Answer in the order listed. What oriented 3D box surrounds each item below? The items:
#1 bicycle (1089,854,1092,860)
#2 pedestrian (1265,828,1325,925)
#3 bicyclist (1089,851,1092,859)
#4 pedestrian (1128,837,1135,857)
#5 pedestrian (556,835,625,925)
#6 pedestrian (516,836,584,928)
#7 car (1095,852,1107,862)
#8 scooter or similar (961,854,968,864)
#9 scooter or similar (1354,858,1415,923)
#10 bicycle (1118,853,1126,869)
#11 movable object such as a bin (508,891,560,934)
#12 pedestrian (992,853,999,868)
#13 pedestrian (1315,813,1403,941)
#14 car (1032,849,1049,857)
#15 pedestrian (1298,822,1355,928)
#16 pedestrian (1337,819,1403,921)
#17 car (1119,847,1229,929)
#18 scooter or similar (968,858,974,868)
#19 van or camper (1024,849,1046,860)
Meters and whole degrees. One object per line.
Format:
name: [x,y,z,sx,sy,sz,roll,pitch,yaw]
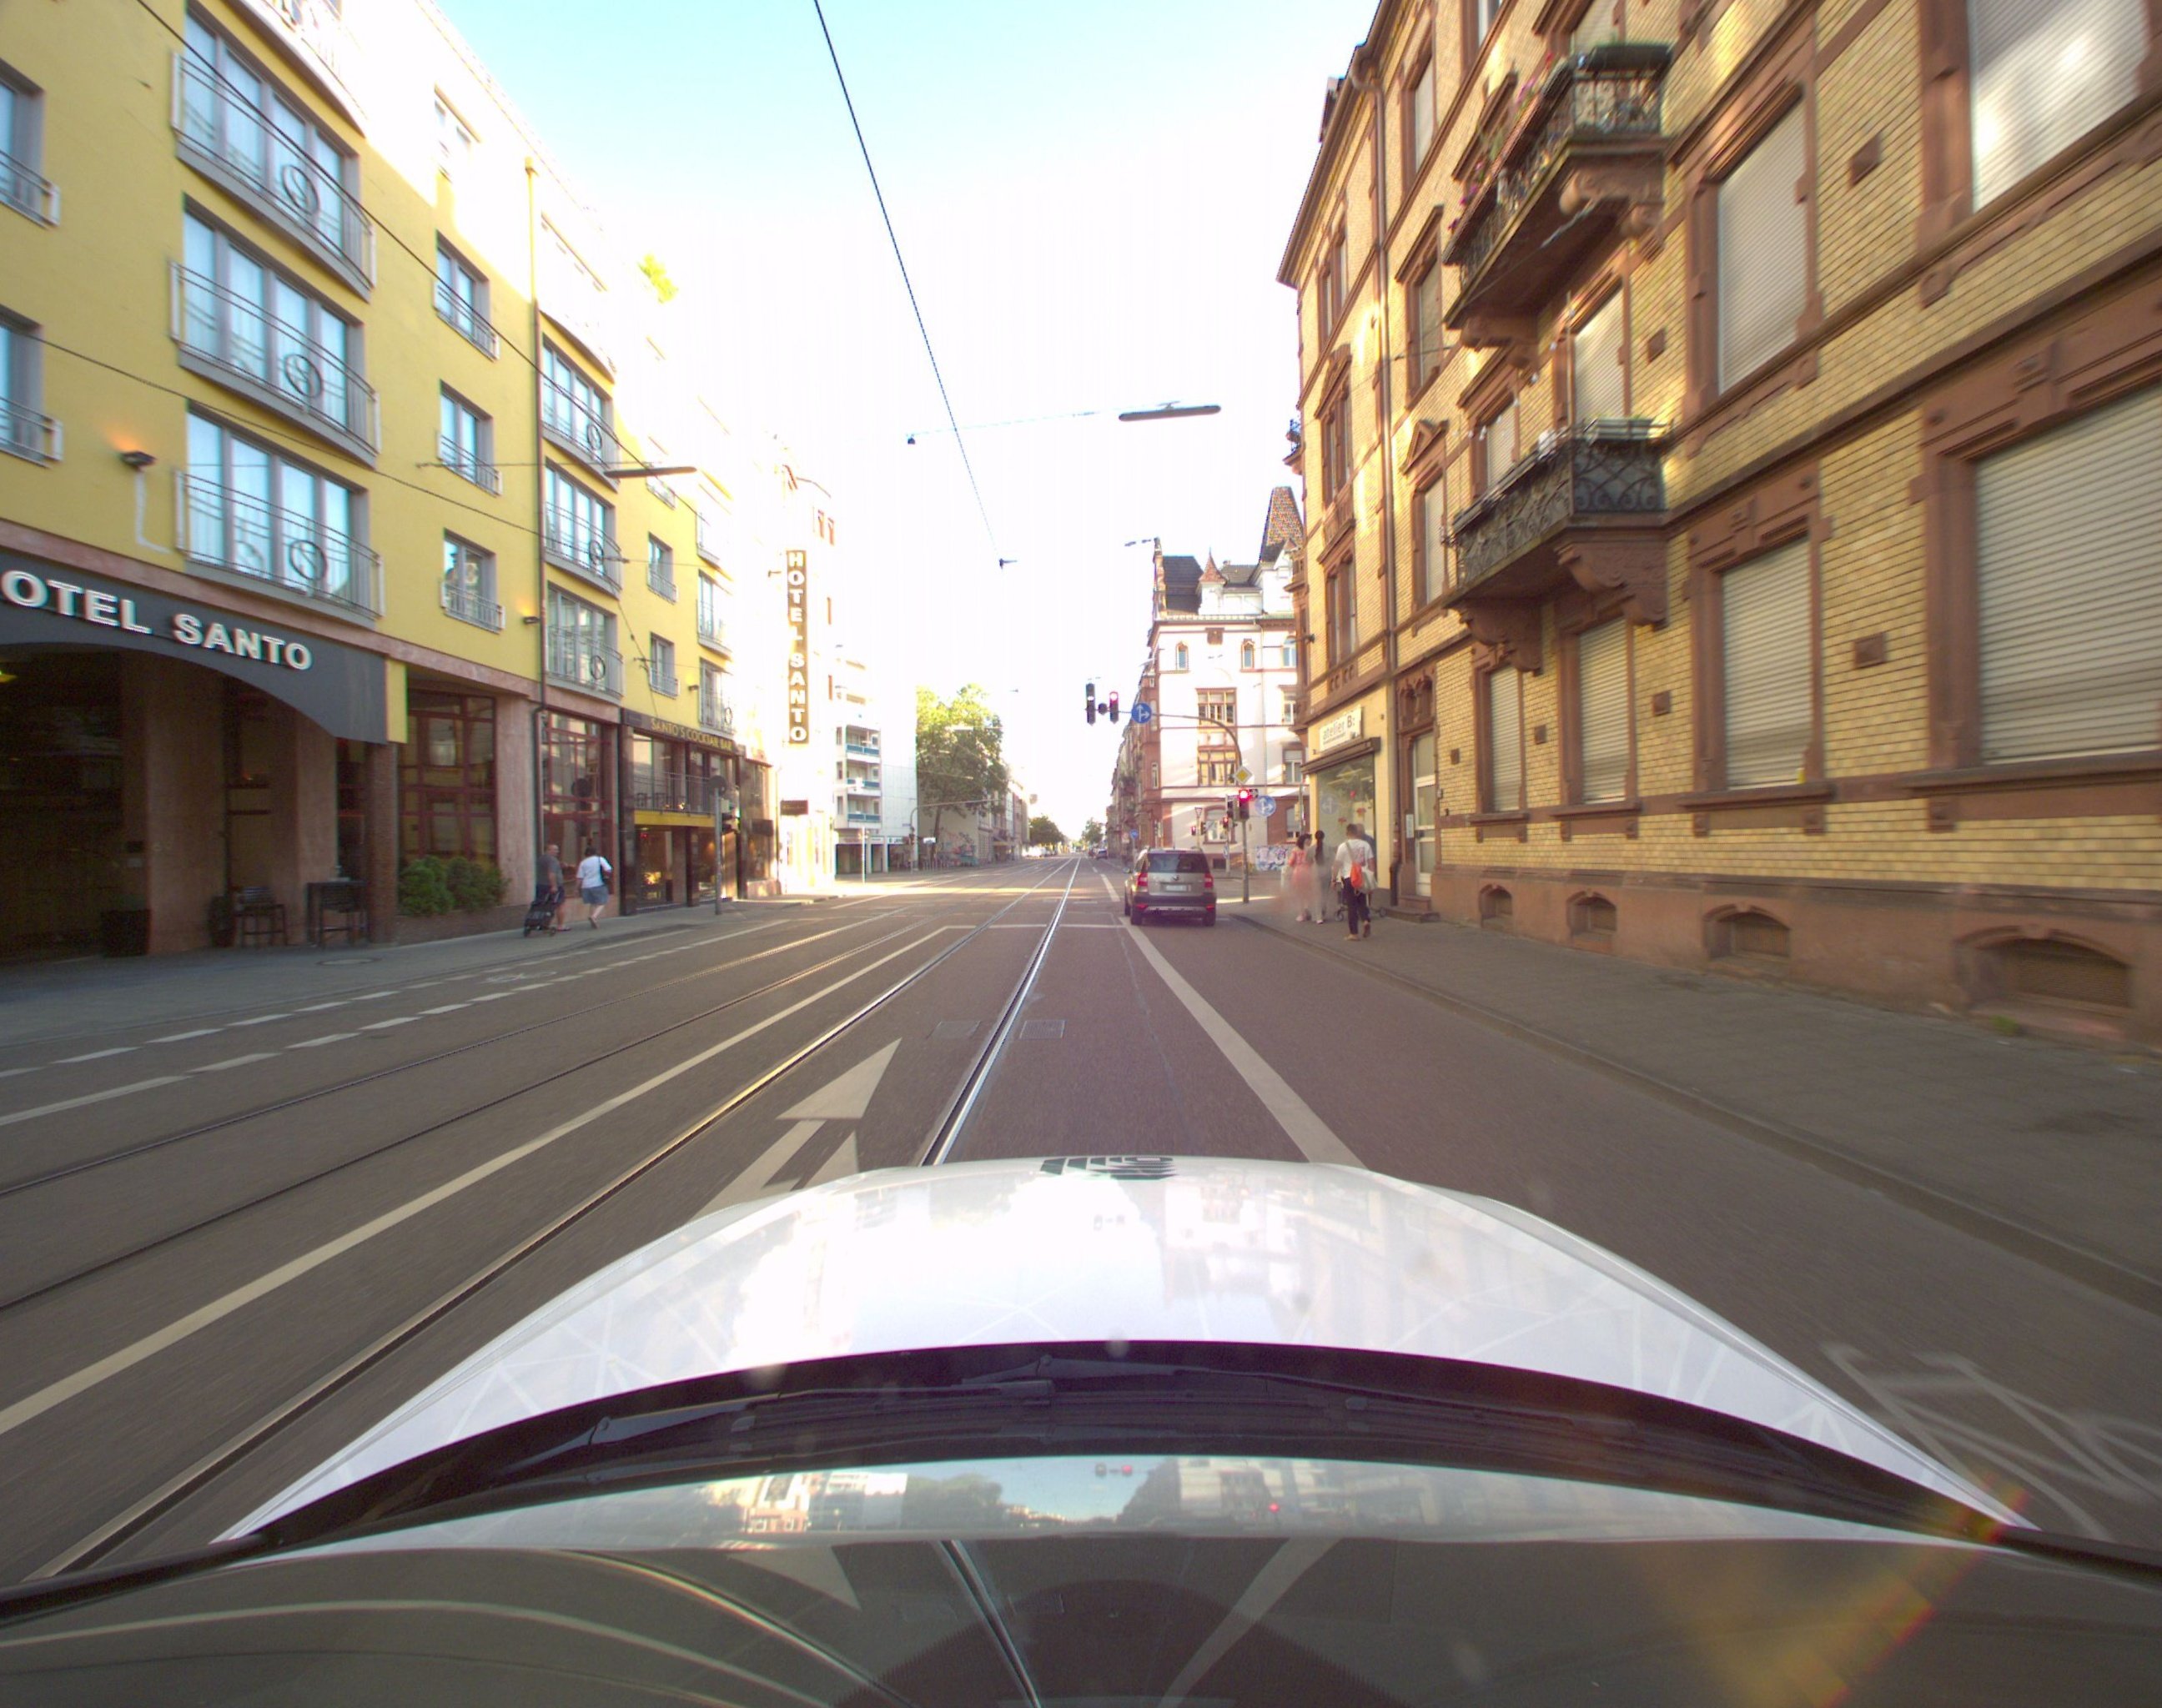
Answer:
bicycle: [1.873,0.589,157.974,0.573,1.030,1.895,-2,0,1]
pedestrian: [4.226,0.422,16.107,0.803,1.799,0.761,-6,1,-2]
bicyclist: [1.856,0.114,157.968,0.573,1.554,0.595,-2,0,1]
pedestrian: [4.369,-0.601,70.667,0.543,1.780,0.504,-2,0,1]
pedestrian: [-10.448,0.535,17.370,0.749,1.818,1.046,3,1,0]
pedestrian: [-10.694,0.549,16.414,0.795,1.771,0.749,3,1,0]
car: [3.395,0.454,138.864,1.943,1.684,4.001,-2,0,1]
scooter or similar: [-12.888,0.552,90.057,0.515,1.045,1.477,-2,0,-2]
scooter or similar: [5.455,0.644,14.653,0.803,1.070,0.521,-6,0,0]
bicycle: [3.474,0.597,69.662,0.651,1.323,2.178,-2,0,3]
movable object such as a bin: [-10.413,1.106,15.530,0.382,0.716,0.841,3,1,1]
pedestrian: [-10.345,0.776,98.097,0.699,1.728,0.647,-2,0,0]
pedestrian: [4.237,0.329,12.507,0.803,1.799,1.091,-6,1,-1]
car: [-11.136,-0.250,224.541,4.007,2.013,1.984,-2,0,-25]
pedestrian: [4.650,0.384,15.473,0.689,1.908,0.670,-6,1,-2]
pedestrian: [5.411,0.291,15.290,0.803,1.799,0.761,-6,1,0]
car: [1.973,0.665,18.434,1.987,1.618,3.999,1,0,0]
scooter or similar: [-12.194,0.973,90.099,0.515,1.057,1.477,-2,0,-2]
van or camper: [-10.615,0.161,189.005,4.665,2.563,1.980,-1,0,-31]
